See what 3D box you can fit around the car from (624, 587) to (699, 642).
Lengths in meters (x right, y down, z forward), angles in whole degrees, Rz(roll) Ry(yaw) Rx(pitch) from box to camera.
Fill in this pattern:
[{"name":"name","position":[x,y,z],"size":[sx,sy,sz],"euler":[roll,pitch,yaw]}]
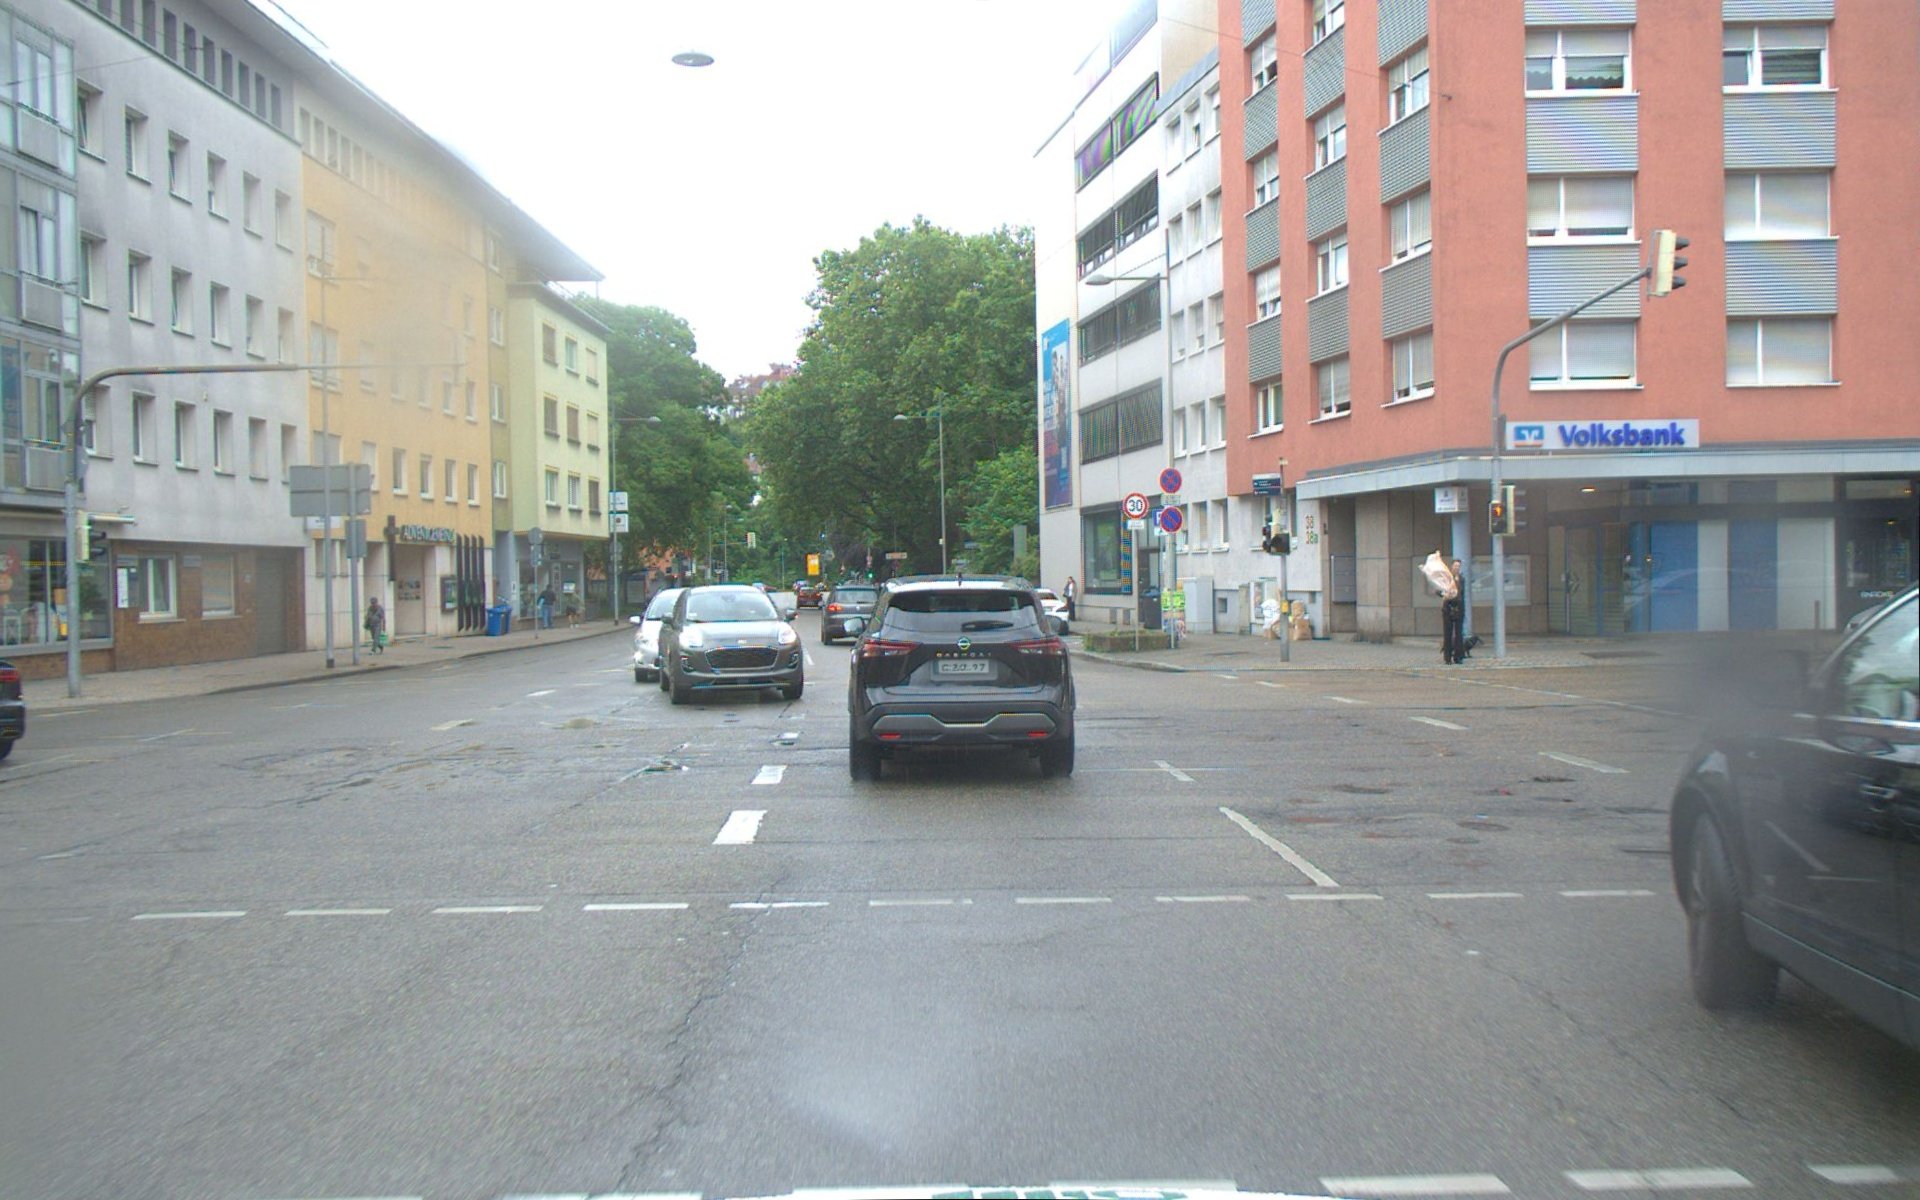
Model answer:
[{"name":"car","position":[-9.647,0.469,53.683],"size":[1.784,1.668,4.371],"euler":[-2,-1,-3]}]

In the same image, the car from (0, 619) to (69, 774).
[{"name":"car","position":[-10.931,0.943,16.403],"size":[4.410,1.412,1.993],"euler":[-1,2,37]}]

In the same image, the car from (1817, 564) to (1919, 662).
[{"name":"car","position":[16.259,0.147,26.769],"size":[3.866,1.512,1.702],"euler":[-2,0,-1]}]

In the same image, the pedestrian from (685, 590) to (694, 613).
[{"name":"pedestrian","position":[-21.629,0.085,132.343],"size":[0.655,1.822,0.719],"euler":[1,0,-14]}]

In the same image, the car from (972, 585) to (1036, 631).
[{"name":"car","position":[1.517,0.250,58.324],"size":[1.682,1.467,4.077],"euler":[-3,1,-6]}]

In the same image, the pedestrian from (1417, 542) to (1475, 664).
[{"name":"pedestrian","position":[8.826,0.050,30.064],"size":[0.808,2.196,0.769],"euler":[1,0,-1]}]

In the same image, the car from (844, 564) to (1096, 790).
[{"name":"car","position":[-0.059,0.557,14.321],"size":[1.857,1.657,3.997],"euler":[-1,0,-4]}]

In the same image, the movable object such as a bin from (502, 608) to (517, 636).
[{"name":"movable object such as a bin","position":[-16.821,0.819,61.775],"size":[0.391,1.024,0.545],"euler":[-1,0,0]}]

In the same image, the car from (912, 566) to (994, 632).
[{"name":"car","position":[-0.267,-0.007,50.840],"size":[1.910,1.848,3.992],"euler":[-3,0,-8]}]

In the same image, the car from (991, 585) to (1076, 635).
[{"name":"car","position":[2.248,0.277,51.924],"size":[1.742,1.425,4.570],"euler":[-3,1,-9]}]

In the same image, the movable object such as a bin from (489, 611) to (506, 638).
[{"name":"movable object such as a bin","position":[-16.666,0.872,59.597],"size":[0.444,0.945,0.502],"euler":[-1,0,0]}]

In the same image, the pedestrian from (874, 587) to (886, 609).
[{"name":"pedestrian","position":[-6.619,-0.163,137.143],"size":[0.709,1.822,0.665],"euler":[1,1,42]}]

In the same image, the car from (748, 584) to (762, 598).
[{"name":"car","position":[-26.927,-1.233,217.405],"size":[1.785,1.827,3.861],"euler":[1,1,-5]}]

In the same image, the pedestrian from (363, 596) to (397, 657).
[{"name":"pedestrian","position":[-15.728,0.714,44.863],"size":[0.672,1.609,0.652],"euler":[1,0,0]}]

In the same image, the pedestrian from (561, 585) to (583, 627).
[{"name":"pedestrian","position":[-16.337,0.248,69.641],"size":[0.783,1.718,0.816],"euler":[-1,0,-7]}]

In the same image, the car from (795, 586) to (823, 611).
[{"name":"car","position":[-10.325,-0.144,112.837],"size":[1.786,1.640,3.860],"euler":[1,1,-6]}]

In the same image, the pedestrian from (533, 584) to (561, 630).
[{"name":"pedestrian","position":[-16.642,0.294,66.632],"size":[0.848,1.819,0.875],"euler":[1,0,-1]}]

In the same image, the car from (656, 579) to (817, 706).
[{"name":"car","position":[-3.267,0.549,23.502],"size":[1.824,1.580,4.211],"euler":[-2,0,-14]}]

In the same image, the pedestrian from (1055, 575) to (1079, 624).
[{"name":"pedestrian","position":[3.917,-0.010,60.473],"size":[0.602,1.767,0.679],"euler":[-3,0,-14]}]

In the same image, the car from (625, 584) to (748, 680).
[{"name":"car","position":[-4.829,0.556,29.664],"size":[1.897,1.553,4.129],"euler":[-2,-1,-6]}]

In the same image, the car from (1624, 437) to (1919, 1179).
[{"name":"car","position":[3.480,0.538,4.374],"size":[1.978,1.902,4.903],"euler":[1,1,7]}]

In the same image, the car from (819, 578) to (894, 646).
[{"name":"car","position":[-2.973,0.329,46.738],"size":[1.908,1.714,3.995],"euler":[-3,0,-5]}]

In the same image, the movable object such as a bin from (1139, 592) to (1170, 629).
[{"name":"movable object such as a bin","position":[5.896,0.321,50.159],"size":[0.700,1.087,0.781],"euler":[-2,0,-13]}]
